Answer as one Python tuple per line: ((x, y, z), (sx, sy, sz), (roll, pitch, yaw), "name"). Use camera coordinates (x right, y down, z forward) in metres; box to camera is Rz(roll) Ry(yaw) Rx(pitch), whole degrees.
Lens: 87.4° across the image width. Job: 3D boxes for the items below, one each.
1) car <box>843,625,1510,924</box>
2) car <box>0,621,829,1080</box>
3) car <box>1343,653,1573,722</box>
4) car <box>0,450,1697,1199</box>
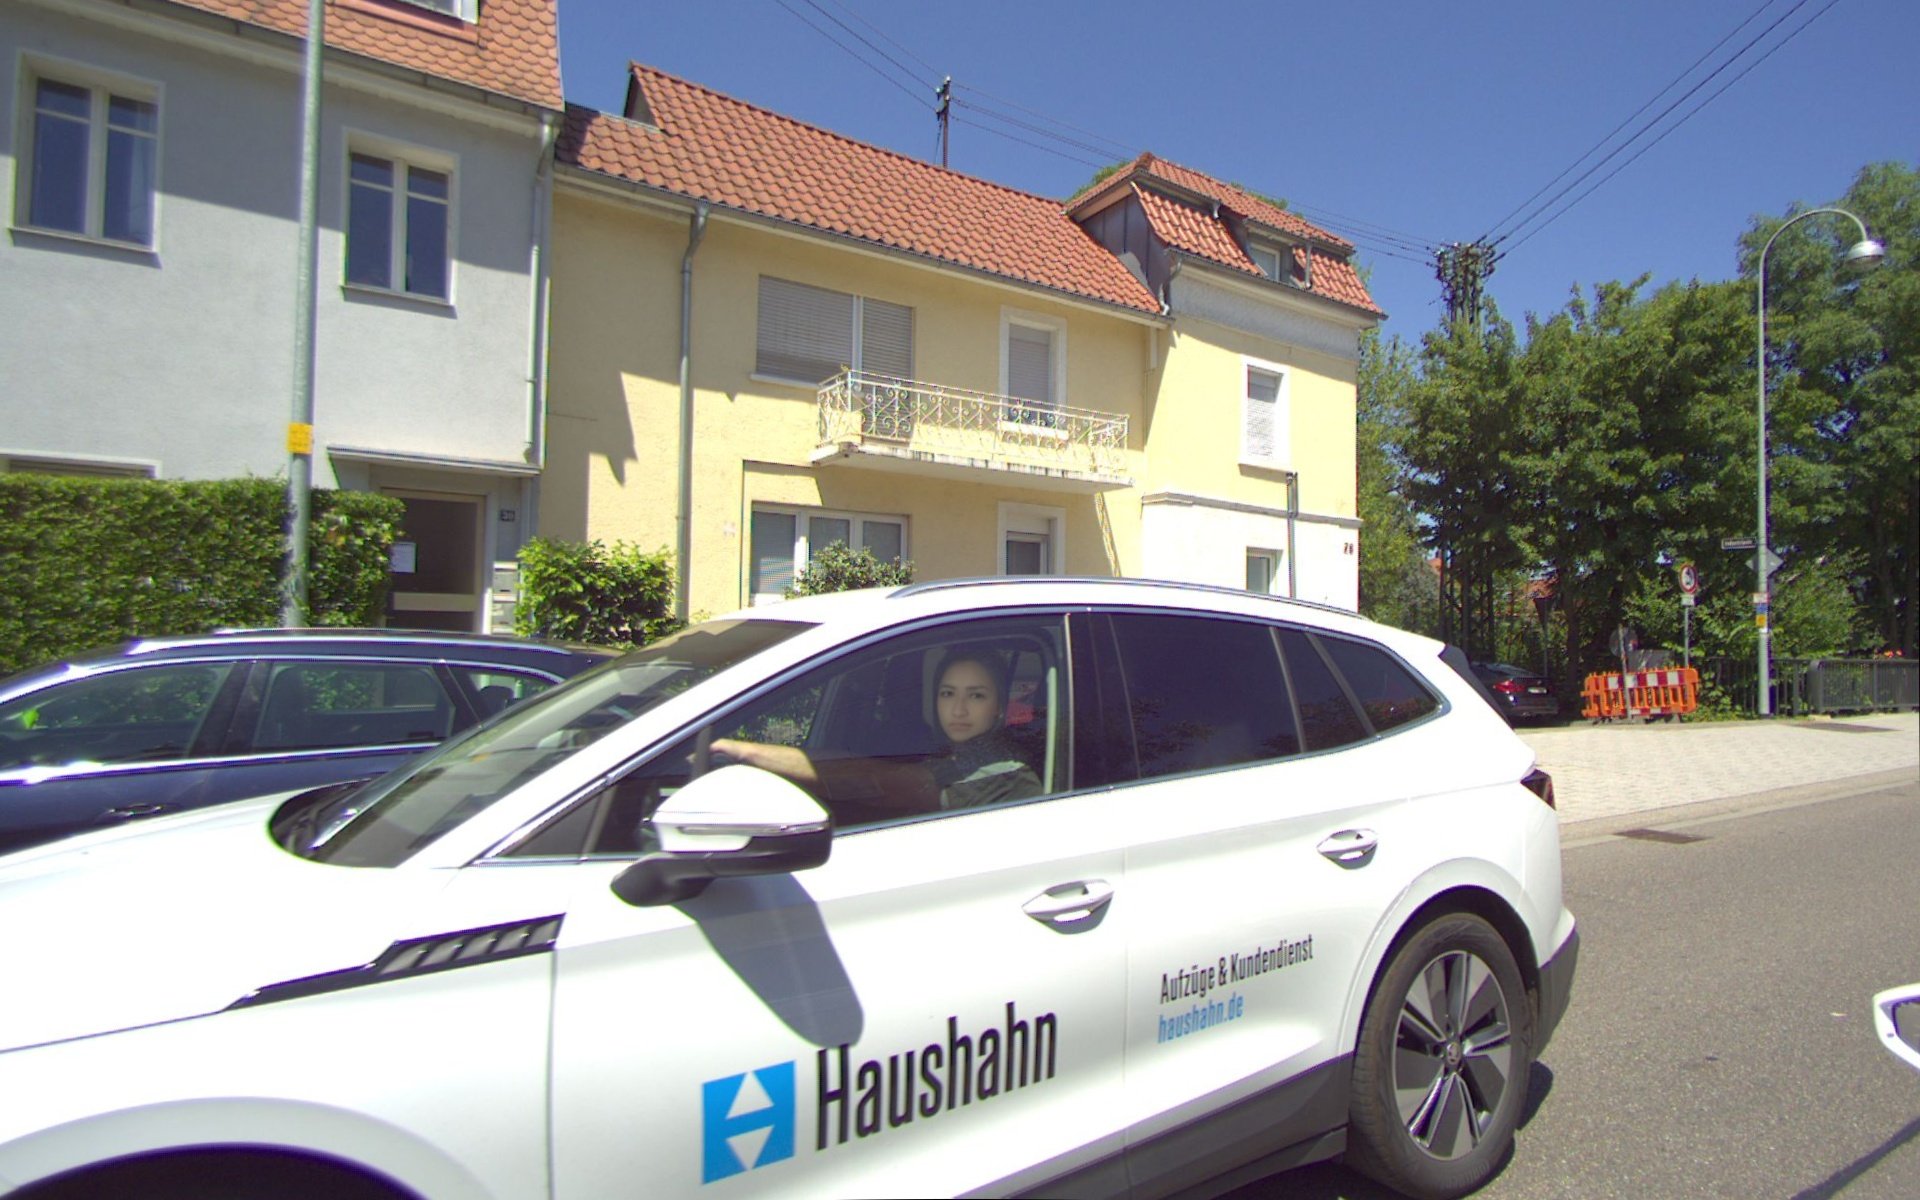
((1.686, 0.995, 7.276), (4.682, 1.499, 1.869), (2, 0, -30), "car")
((-3.352, 0.854, 4.302), (5.245, 1.481, 1.854), (1, 0, -31), "car")
((11.429, 2.102, 23.438), (1.973, 1.436, 4.519), (1, -7, -24), "car")
((-0.028, 0.737, 2.825), (4.310, 1.617, 1.868), (2, -4, -32), "car")
